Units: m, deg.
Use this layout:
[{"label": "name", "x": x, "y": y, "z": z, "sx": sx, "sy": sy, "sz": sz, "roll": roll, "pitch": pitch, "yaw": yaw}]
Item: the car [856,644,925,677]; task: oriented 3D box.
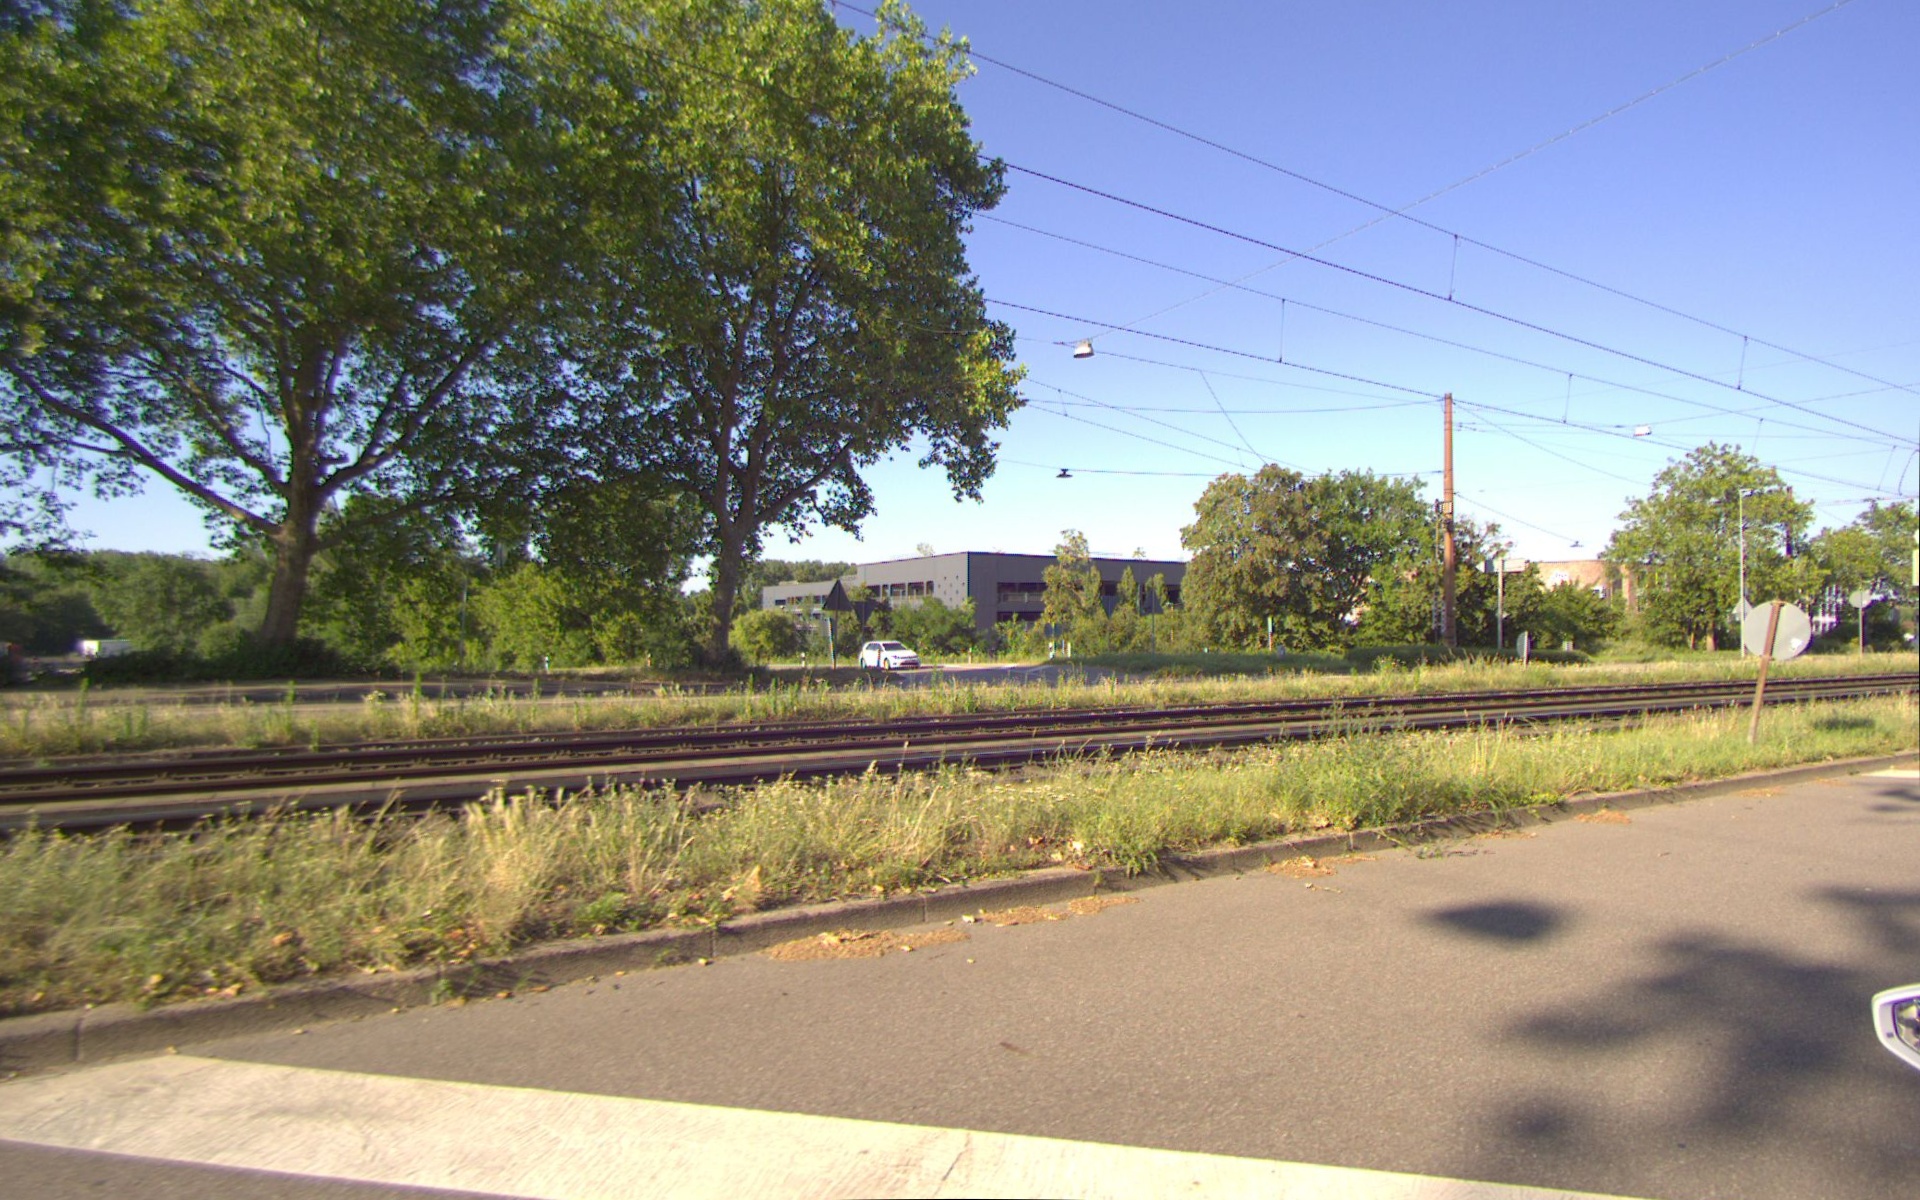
[{"label": "car", "x": -3.583, "y": 3.066, "z": 51.131, "sx": 1.641, "sy": 1.545, "sz": 4.236, "roll": 4, "pitch": -4, "yaw": -32}]

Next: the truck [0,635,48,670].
[{"label": "truck", "x": -76.743, "y": 4.221, "z": 80.871, "sx": 2.024, "sy": 2.554, "sz": 5.030, "roll": 1, "pitch": 0, "yaw": -1}]
